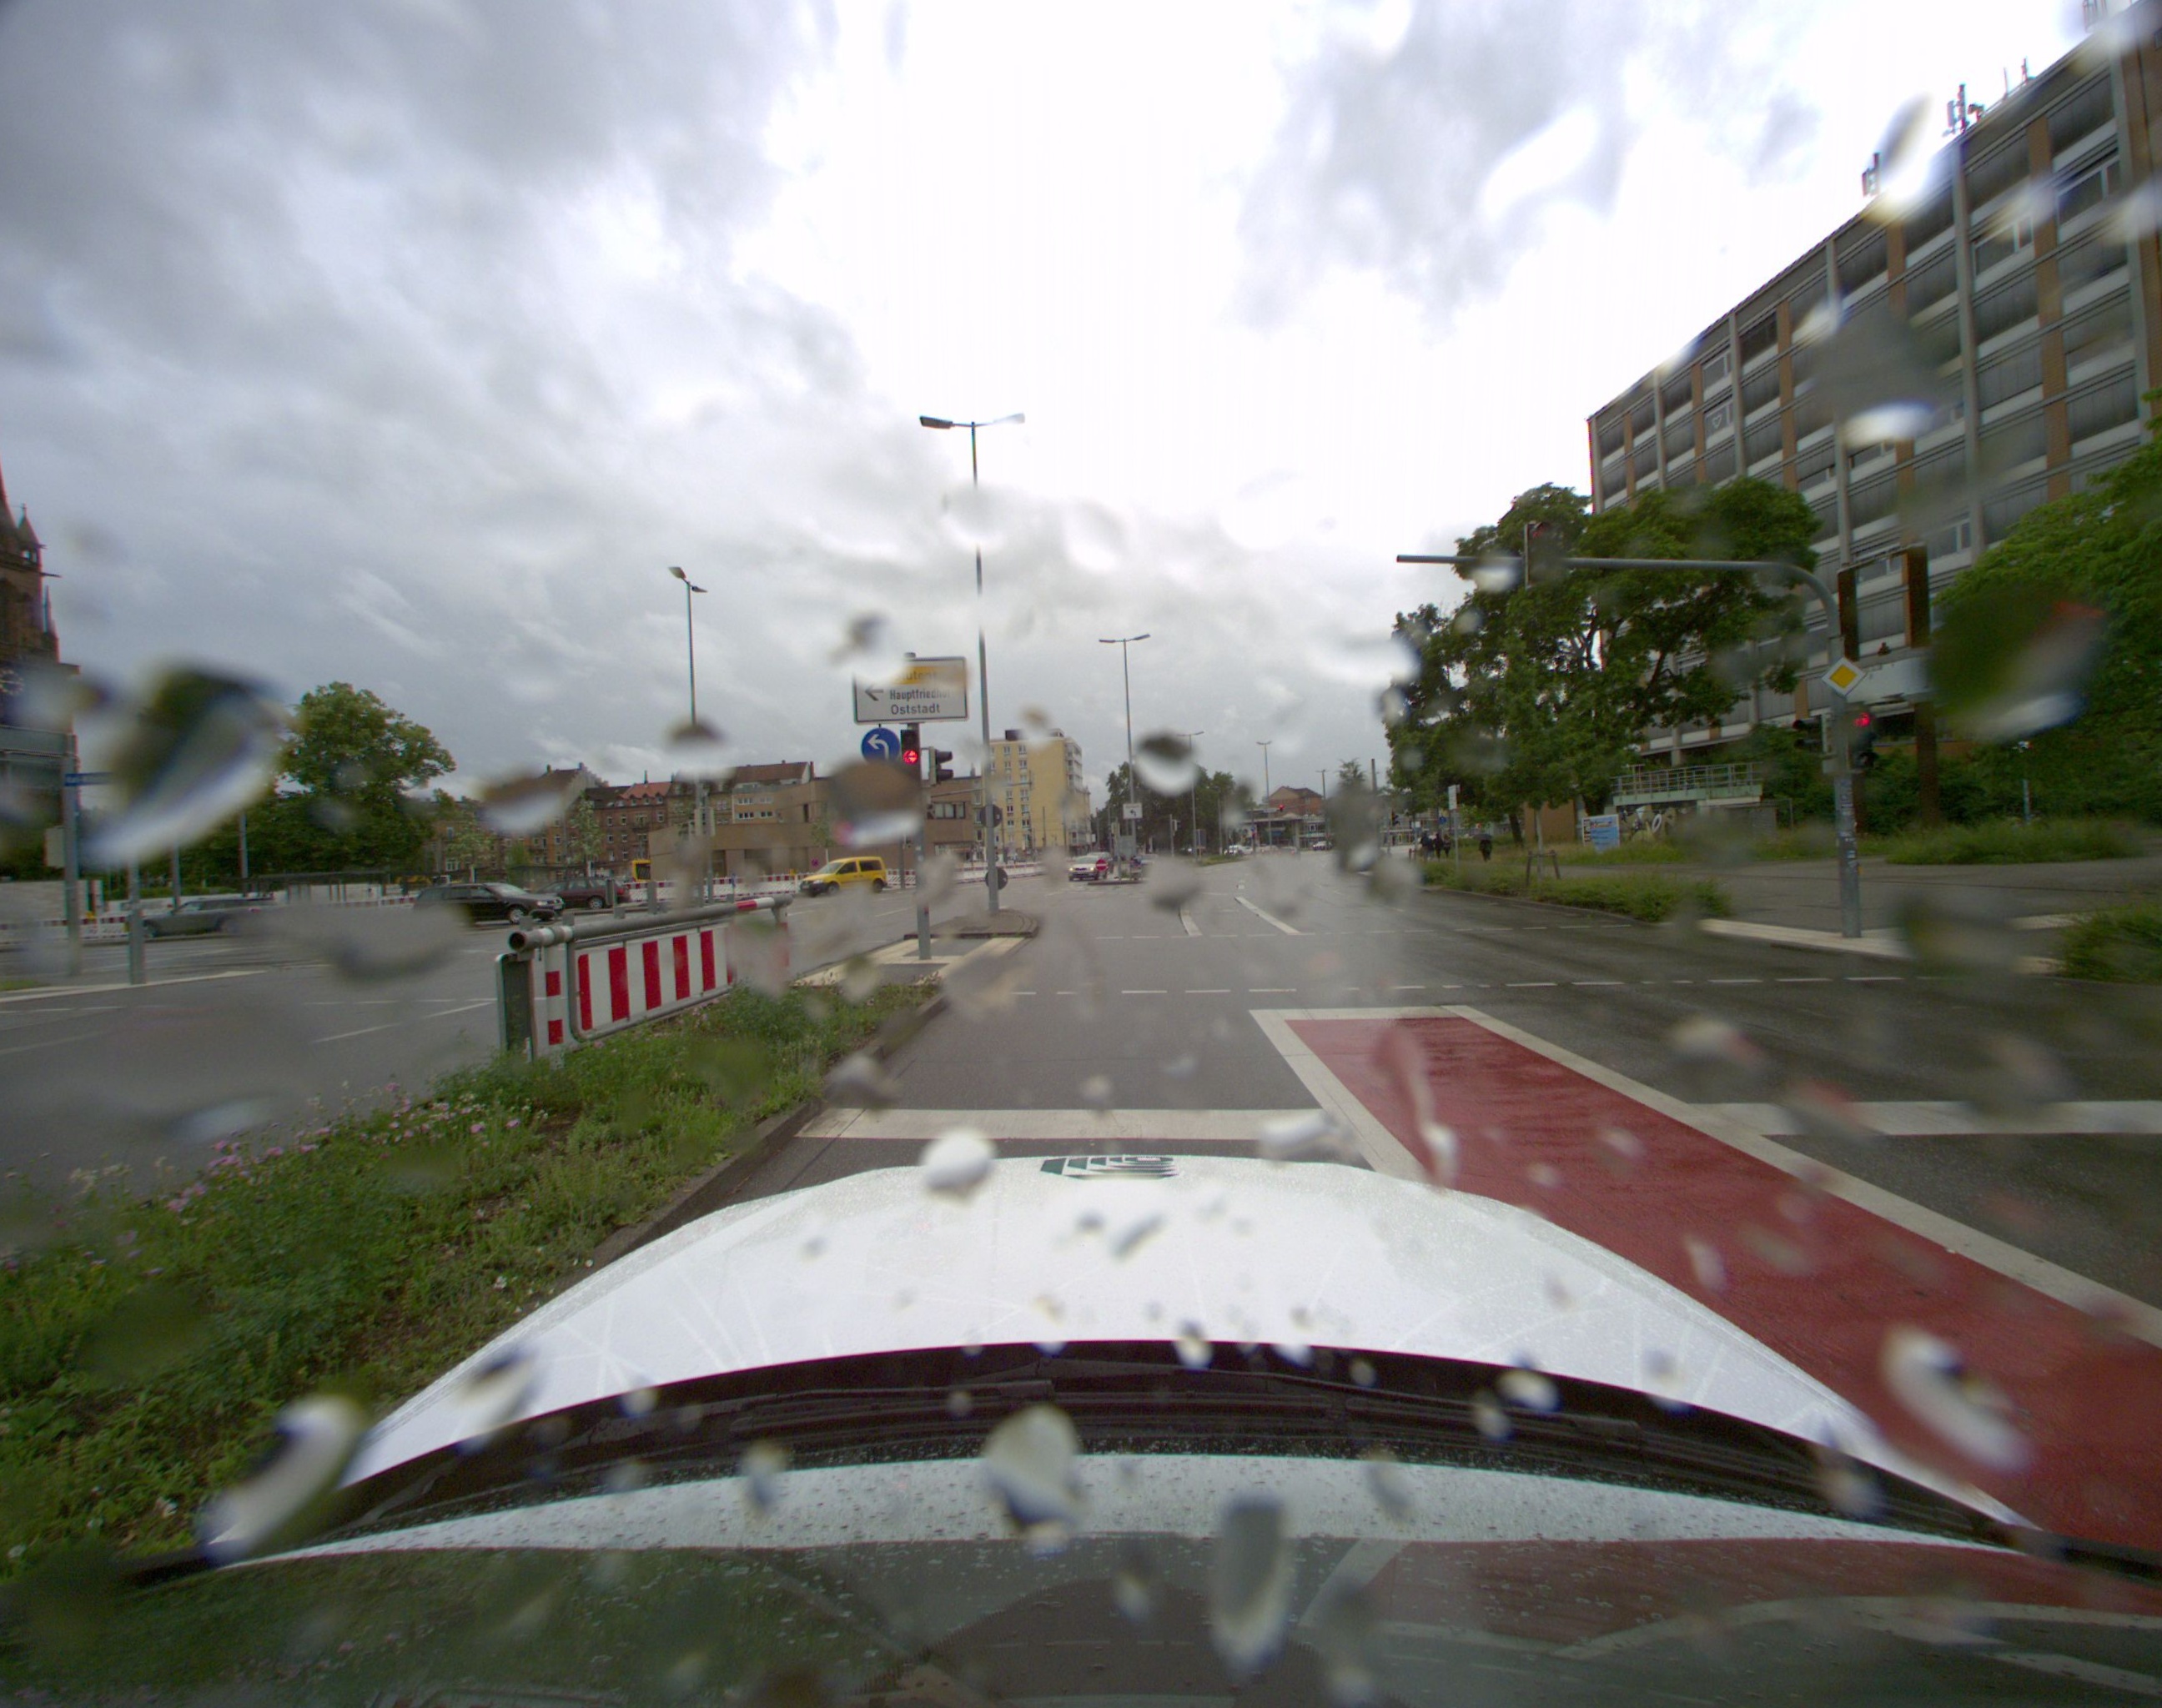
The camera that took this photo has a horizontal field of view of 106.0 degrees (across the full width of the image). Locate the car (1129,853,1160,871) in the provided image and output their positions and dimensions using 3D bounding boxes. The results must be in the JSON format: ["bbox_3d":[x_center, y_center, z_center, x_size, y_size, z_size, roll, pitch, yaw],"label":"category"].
[{"bbox_3d":[5.448,0.689,69.364,1.758,1.376,4.138,-2,0,16],"label":"car"}]

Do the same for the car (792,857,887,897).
[{"bbox_3d":[-11.533,1.074,39.146,1.689,1.706,4.180,-3,0,35],"label":"car"}]

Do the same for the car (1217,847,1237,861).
[{"bbox_3d":[21.244,-0.040,118.634,1.774,1.858,4.183,-3,0,24],"label":"car"}]

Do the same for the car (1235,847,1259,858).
[{"bbox_3d":[28.110,-0.256,137.782,4.422,1.643,1.774,-3,0,-43],"label":"car"}]

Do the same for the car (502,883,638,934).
[{"bbox_3d":[-21.107,2.206,33.865,4.464,1.706,1.698,-3,0,-22],"label":"car"}]

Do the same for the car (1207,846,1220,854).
[{"bbox_3d":[30.939,-0.877,190.336,1.773,1.643,4.184,-3,0,25],"label":"car"}]

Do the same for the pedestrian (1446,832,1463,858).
[{"bbox_3d":[22.888,-0.547,49.886,0.698,1.588,0.939,-3,0,12],"label":"pedestrian"}]

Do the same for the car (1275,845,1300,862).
[{"bbox_3d":[21.949,-0.040,86.481,1.774,1.643,4.183,-3,0,23],"label":"car"}]

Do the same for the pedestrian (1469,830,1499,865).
[{"bbox_3d":[19.560,-0.315,39.539,1.015,1.588,0.939,-3,0,12],"label":"pedestrian"}]

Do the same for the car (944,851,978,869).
[{"bbox_3d":[-21.093,1.031,142.834,5.326,2.887,2.342,-3,0,4],"label":"car"}]

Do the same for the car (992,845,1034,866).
[{"bbox_3d":[-11.803,0.255,141.979,6.711,3.380,2.813,-3,0,4],"label":"car"}]

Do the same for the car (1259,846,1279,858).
[{"bbox_3d":[28.292,-0.326,122.655,1.773,1.643,4.071,-3,0,29],"label":"car"}]

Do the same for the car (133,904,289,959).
[{"bbox_3d":[-33.113,2.916,31.100,3.803,1.706,1.707,-3,0,-6],"label":"car"}]

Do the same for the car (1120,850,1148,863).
[{"bbox_3d":[8.571,0.432,132.565,4.163,1.858,1.782,-3,0,-22],"label":"car"}]

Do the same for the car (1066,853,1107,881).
[{"bbox_3d":[0.365,0.773,49.264,1.683,1.415,4.196,-3,1,11],"label":"car"}]

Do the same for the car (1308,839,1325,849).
[{"bbox_3d":[43.424,-1.828,150.178,1.772,1.643,4.186,-3,0,31],"label":"car"}]

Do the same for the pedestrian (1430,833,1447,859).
[{"bbox_3d":[21.976,-0.499,50.097,0.698,1.588,0.939,-3,0,12],"label":"pedestrian"}]

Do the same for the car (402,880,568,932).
[{"bbox_3d":[-19.982,1.721,27.436,4.185,1.402,1.615,-3,0,-5],"label":"car"}]

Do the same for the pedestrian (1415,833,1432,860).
[{"bbox_3d":[21.307,-0.464,50.642,0.749,1.588,0.939,-3,0,12],"label":"pedestrian"}]

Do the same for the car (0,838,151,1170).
[{"bbox_3d":[-6.523,0.802,2.223,1.818,1.682,5.170,-2,0,3],"label":"car"}]

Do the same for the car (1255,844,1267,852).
[{"bbox_3d":[41.095,-1.405,185.788,1.773,1.643,4.184,-3,0,25],"label":"car"}]

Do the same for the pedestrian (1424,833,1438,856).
[{"bbox_3d":[24.404,-0.644,56.847,0.698,1.588,0.940,-3,0,14],"label":"pedestrian"}]
